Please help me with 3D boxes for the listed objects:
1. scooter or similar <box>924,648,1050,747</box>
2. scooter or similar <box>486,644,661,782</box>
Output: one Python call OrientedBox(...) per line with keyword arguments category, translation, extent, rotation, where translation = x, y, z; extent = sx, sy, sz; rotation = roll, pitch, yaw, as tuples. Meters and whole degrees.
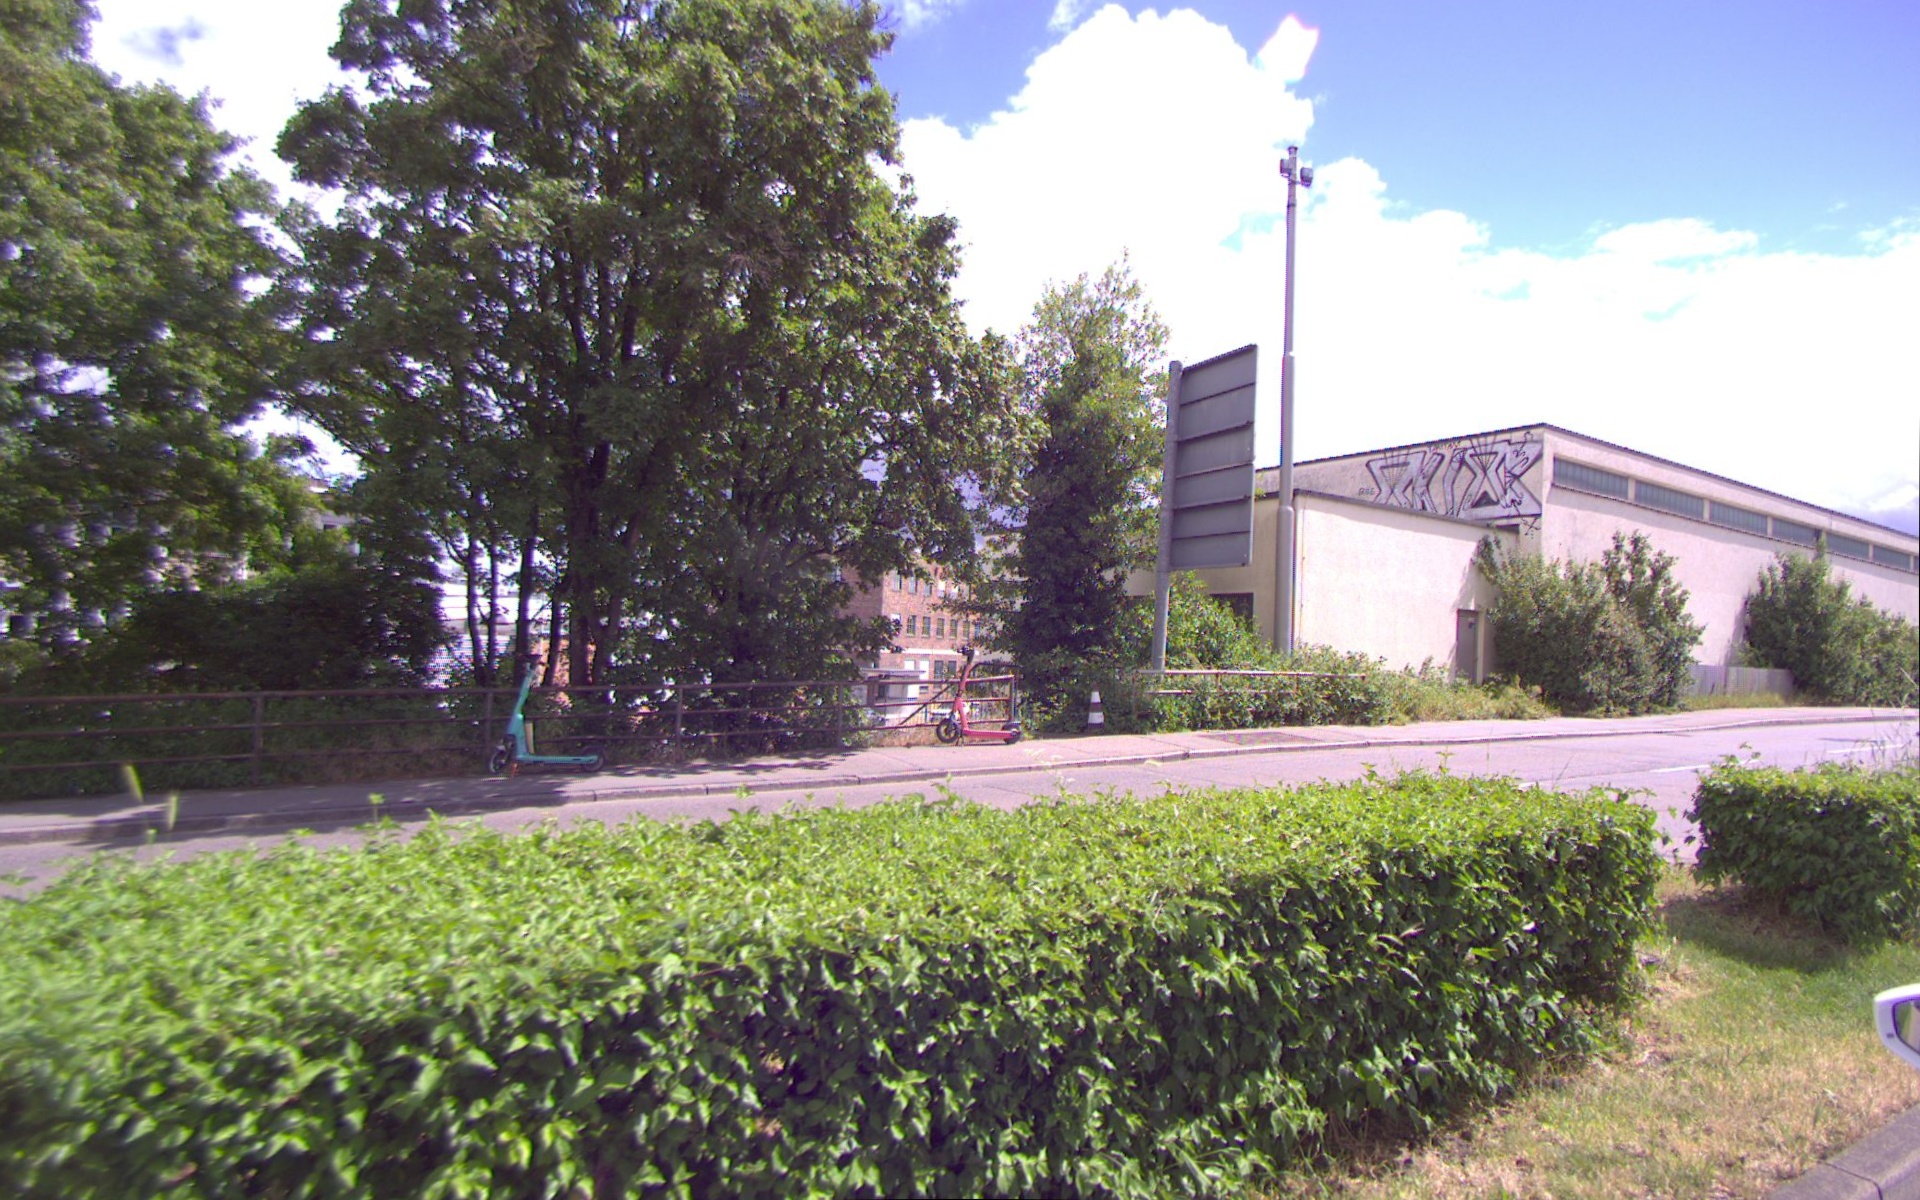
OrientedBox(category="scooter or similar", translation=(0.365, 1.255, 13.259), extent=(1.622, 1.232, 0.489), rotation=(1, -2, -27))
OrientedBox(category="scooter or similar", translation=(-3.976, 1.125, 10.367), extent=(1.622, 1.322, 0.489), rotation=(1, 0, -27))
